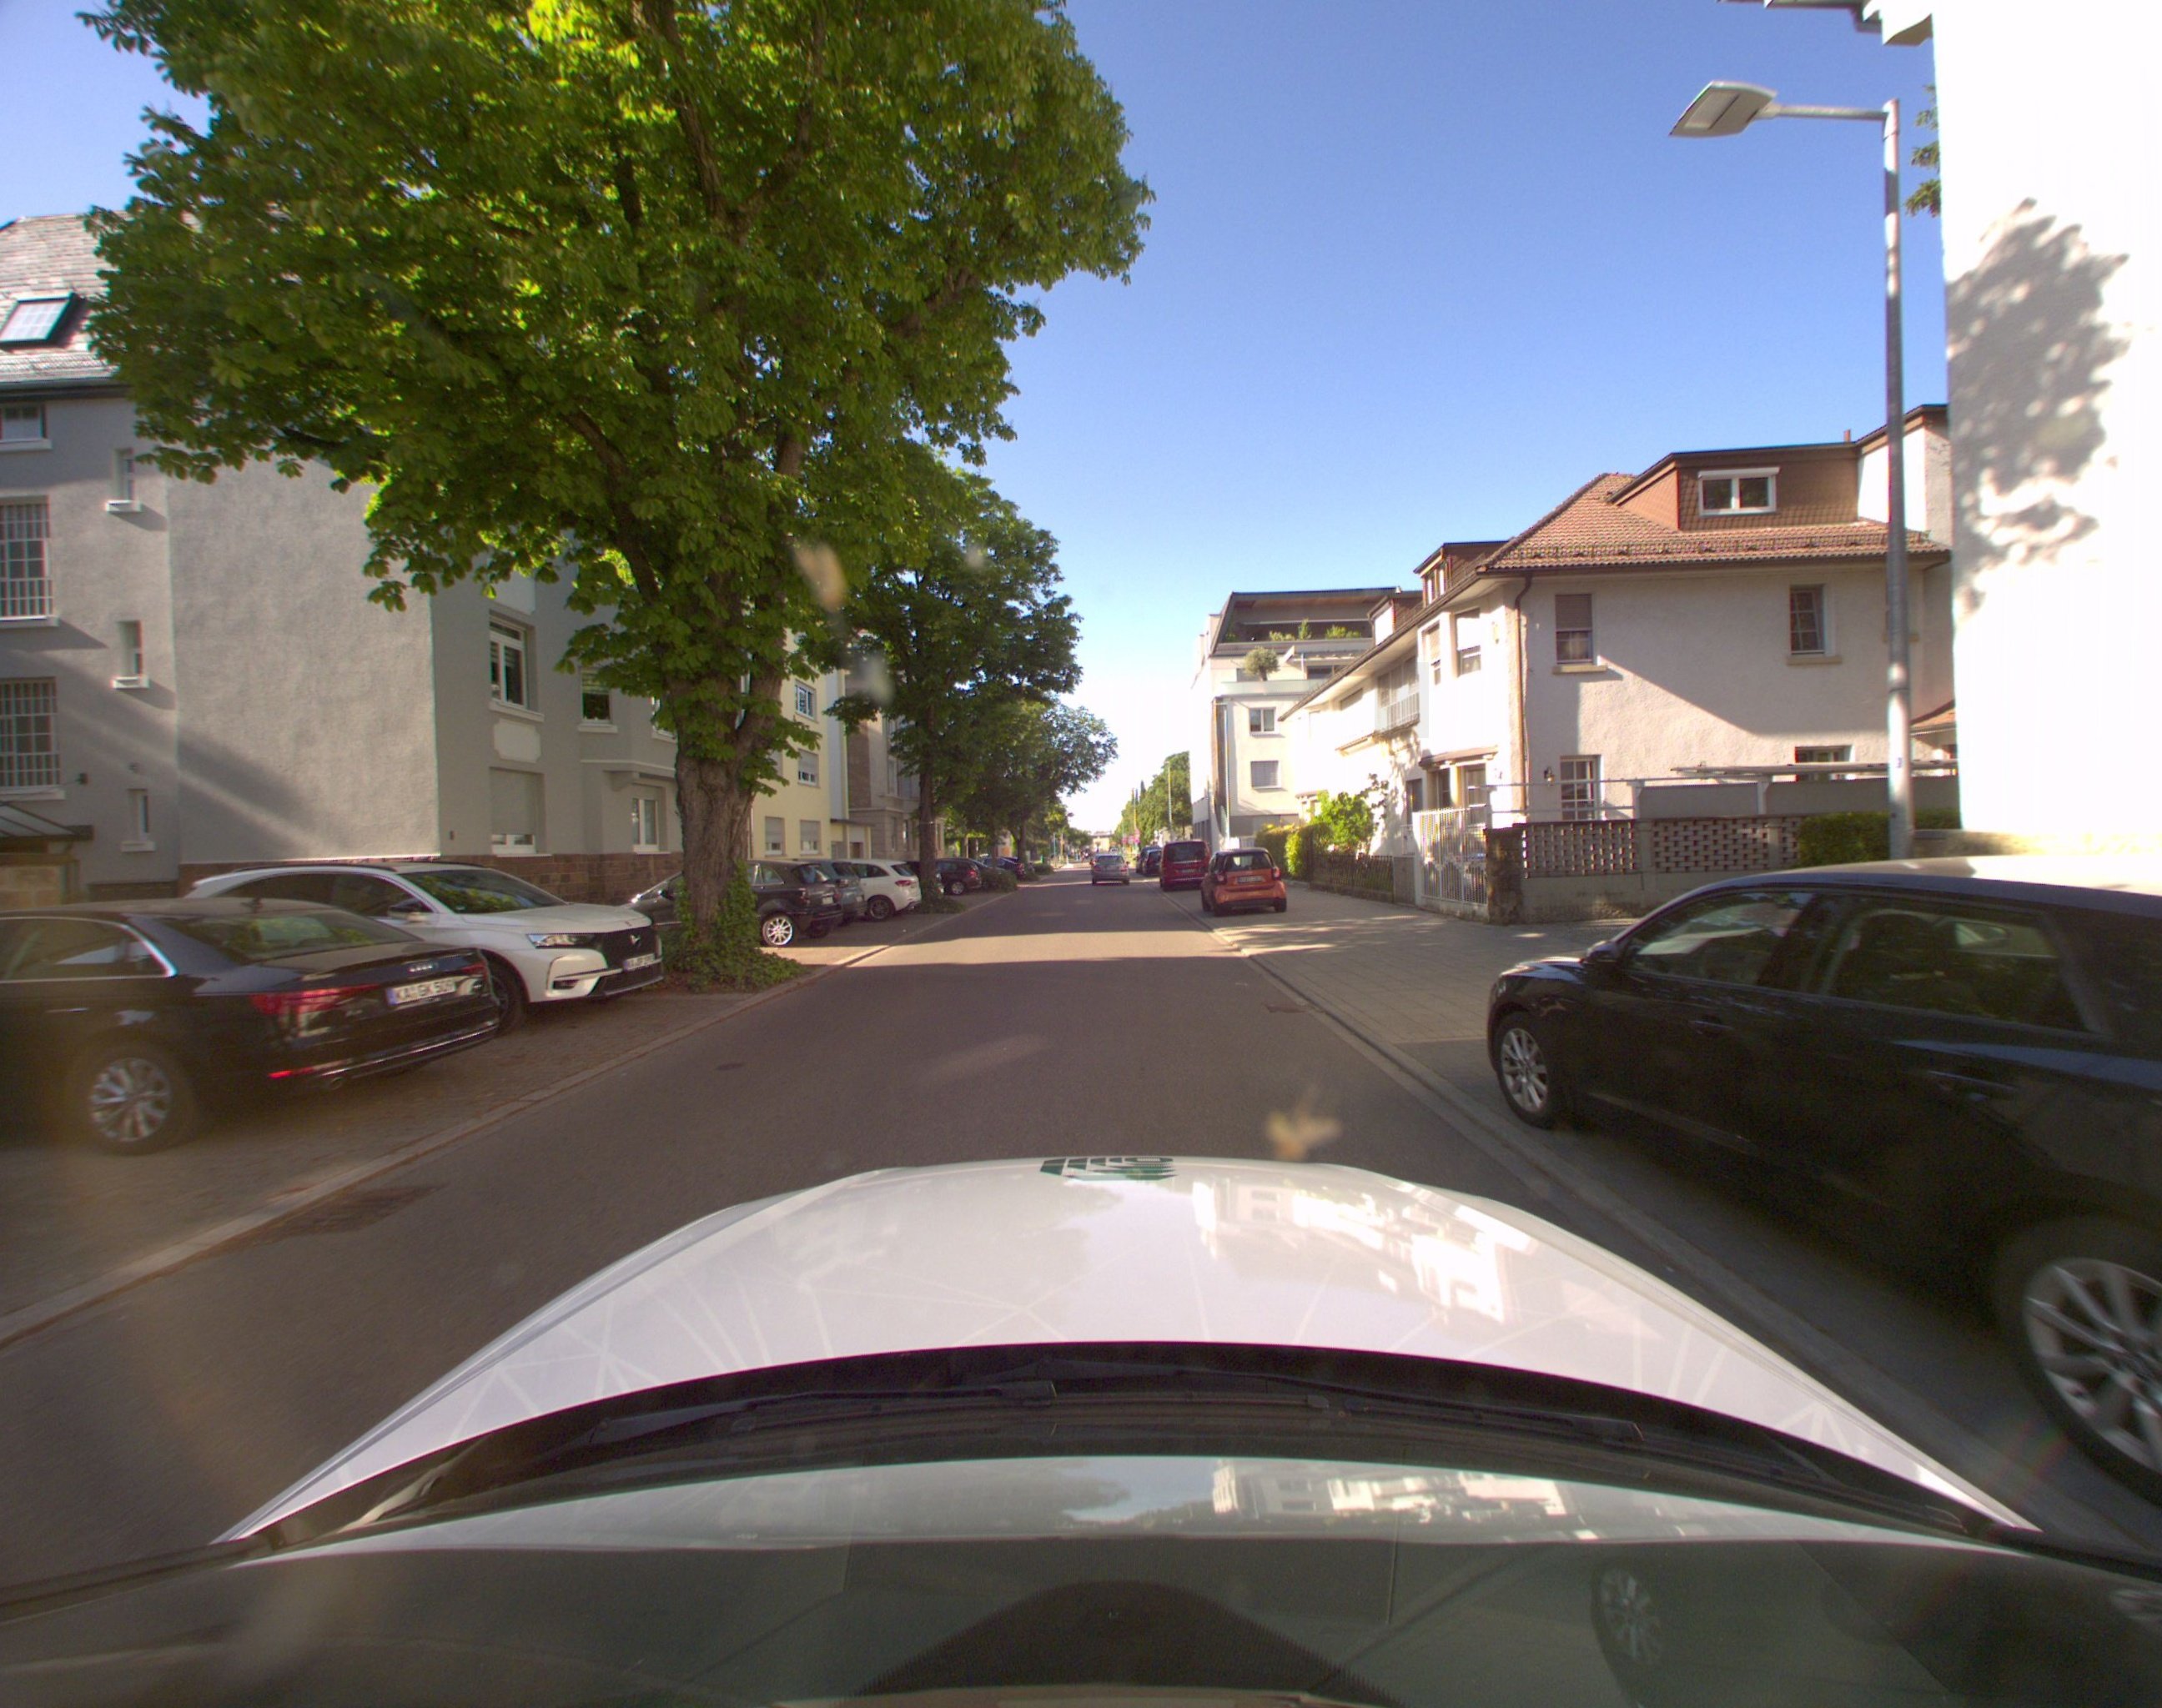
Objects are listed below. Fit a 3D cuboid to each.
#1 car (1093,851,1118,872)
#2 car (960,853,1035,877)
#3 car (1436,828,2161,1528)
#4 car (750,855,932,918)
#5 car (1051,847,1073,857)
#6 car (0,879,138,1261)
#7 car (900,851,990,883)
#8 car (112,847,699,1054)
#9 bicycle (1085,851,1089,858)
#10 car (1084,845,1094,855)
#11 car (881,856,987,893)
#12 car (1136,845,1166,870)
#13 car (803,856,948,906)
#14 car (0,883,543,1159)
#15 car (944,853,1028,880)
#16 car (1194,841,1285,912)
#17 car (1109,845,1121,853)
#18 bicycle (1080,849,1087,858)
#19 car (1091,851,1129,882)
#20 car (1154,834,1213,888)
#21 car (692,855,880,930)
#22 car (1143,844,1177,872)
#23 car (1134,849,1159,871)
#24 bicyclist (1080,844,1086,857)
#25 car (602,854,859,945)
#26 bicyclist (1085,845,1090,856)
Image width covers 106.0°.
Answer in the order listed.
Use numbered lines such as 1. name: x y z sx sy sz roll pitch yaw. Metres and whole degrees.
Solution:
1. car: 1.750 0.562 57.907 1.701 1.448 4.203 0 -1 1
2. car: -5.198 0.694 51.008 4.460 1.479 1.868 0 -1 -1
3. car: 3.101 0.679 3.208 1.614 1.439 3.934 -4 0 0
4. car: -5.958 0.783 20.534 4.008 1.484 1.807 0 0 0
5. car: -3.139 -0.291 136.580 3.488 1.533 1.642 -3 0 -5
6. car: -6.564 0.980 2.963 3.975 1.592 1.878 -2 0 -1
7. car: -6.574 0.646 39.671 4.167 1.500 1.996 1 -1 -6
8. car: -6.539 0.872 8.257 4.369 1.652 1.824 -3 1 2
9. bicycle: 0.874 0.082 119.499 0.586 0.931 1.851 -2 0 3
10. car: 1.546 -0.790 165.170 1.783 1.532 3.995 -4 -4 -3
11. car: -5.911 0.801 33.050 3.973 1.421 1.771 0 1 0
12. car: 4.646 0.277 54.822 1.676 1.435 4.267 -5 -1 2
13. car: -6.110 0.804 24.583 4.019 1.444 1.795 1 -1 -7
14. car: -6.237 1.021 5.535 3.973 1.468 1.697 -2 0 0
15. car: -5.295 0.688 45.712 4.460 1.479 1.868 0 -1 -1
16. car: 3.756 0.497 19.779 1.586 1.480 3.248 -3 0 1
17. car: 6.073 -0.820 144.017 1.718 1.330 3.996 -3 0 -3
18. bicycle: 0.264 -0.039 94.773 0.716 1.079 1.892 -2 0 2
19. car: 1.413 0.591 39.026 1.720 1.420 3.962 0 -1 3
20. car: 3.986 0.274 32.424 1.864 1.905 5.201 -3 -1 3
21. car: -6.474 0.805 18.131 3.499 1.575 1.773 0 0 4
22. car: 4.702 0.182 48.859 1.730 1.531 4.180 -3 0 2
23. car: 4.726 0.436 59.274 1.558 1.410 3.732 -5 -1 3
24. bicyclist: 0.232 -0.424 94.873 0.718 1.537 1.137 -2 0 2
25. car: -6.485 0.795 15.378 3.969 1.575 1.983 0 0 4
26. bicyclist: 0.895 -0.524 119.448 0.678 1.509 0.655 -2 0 3
